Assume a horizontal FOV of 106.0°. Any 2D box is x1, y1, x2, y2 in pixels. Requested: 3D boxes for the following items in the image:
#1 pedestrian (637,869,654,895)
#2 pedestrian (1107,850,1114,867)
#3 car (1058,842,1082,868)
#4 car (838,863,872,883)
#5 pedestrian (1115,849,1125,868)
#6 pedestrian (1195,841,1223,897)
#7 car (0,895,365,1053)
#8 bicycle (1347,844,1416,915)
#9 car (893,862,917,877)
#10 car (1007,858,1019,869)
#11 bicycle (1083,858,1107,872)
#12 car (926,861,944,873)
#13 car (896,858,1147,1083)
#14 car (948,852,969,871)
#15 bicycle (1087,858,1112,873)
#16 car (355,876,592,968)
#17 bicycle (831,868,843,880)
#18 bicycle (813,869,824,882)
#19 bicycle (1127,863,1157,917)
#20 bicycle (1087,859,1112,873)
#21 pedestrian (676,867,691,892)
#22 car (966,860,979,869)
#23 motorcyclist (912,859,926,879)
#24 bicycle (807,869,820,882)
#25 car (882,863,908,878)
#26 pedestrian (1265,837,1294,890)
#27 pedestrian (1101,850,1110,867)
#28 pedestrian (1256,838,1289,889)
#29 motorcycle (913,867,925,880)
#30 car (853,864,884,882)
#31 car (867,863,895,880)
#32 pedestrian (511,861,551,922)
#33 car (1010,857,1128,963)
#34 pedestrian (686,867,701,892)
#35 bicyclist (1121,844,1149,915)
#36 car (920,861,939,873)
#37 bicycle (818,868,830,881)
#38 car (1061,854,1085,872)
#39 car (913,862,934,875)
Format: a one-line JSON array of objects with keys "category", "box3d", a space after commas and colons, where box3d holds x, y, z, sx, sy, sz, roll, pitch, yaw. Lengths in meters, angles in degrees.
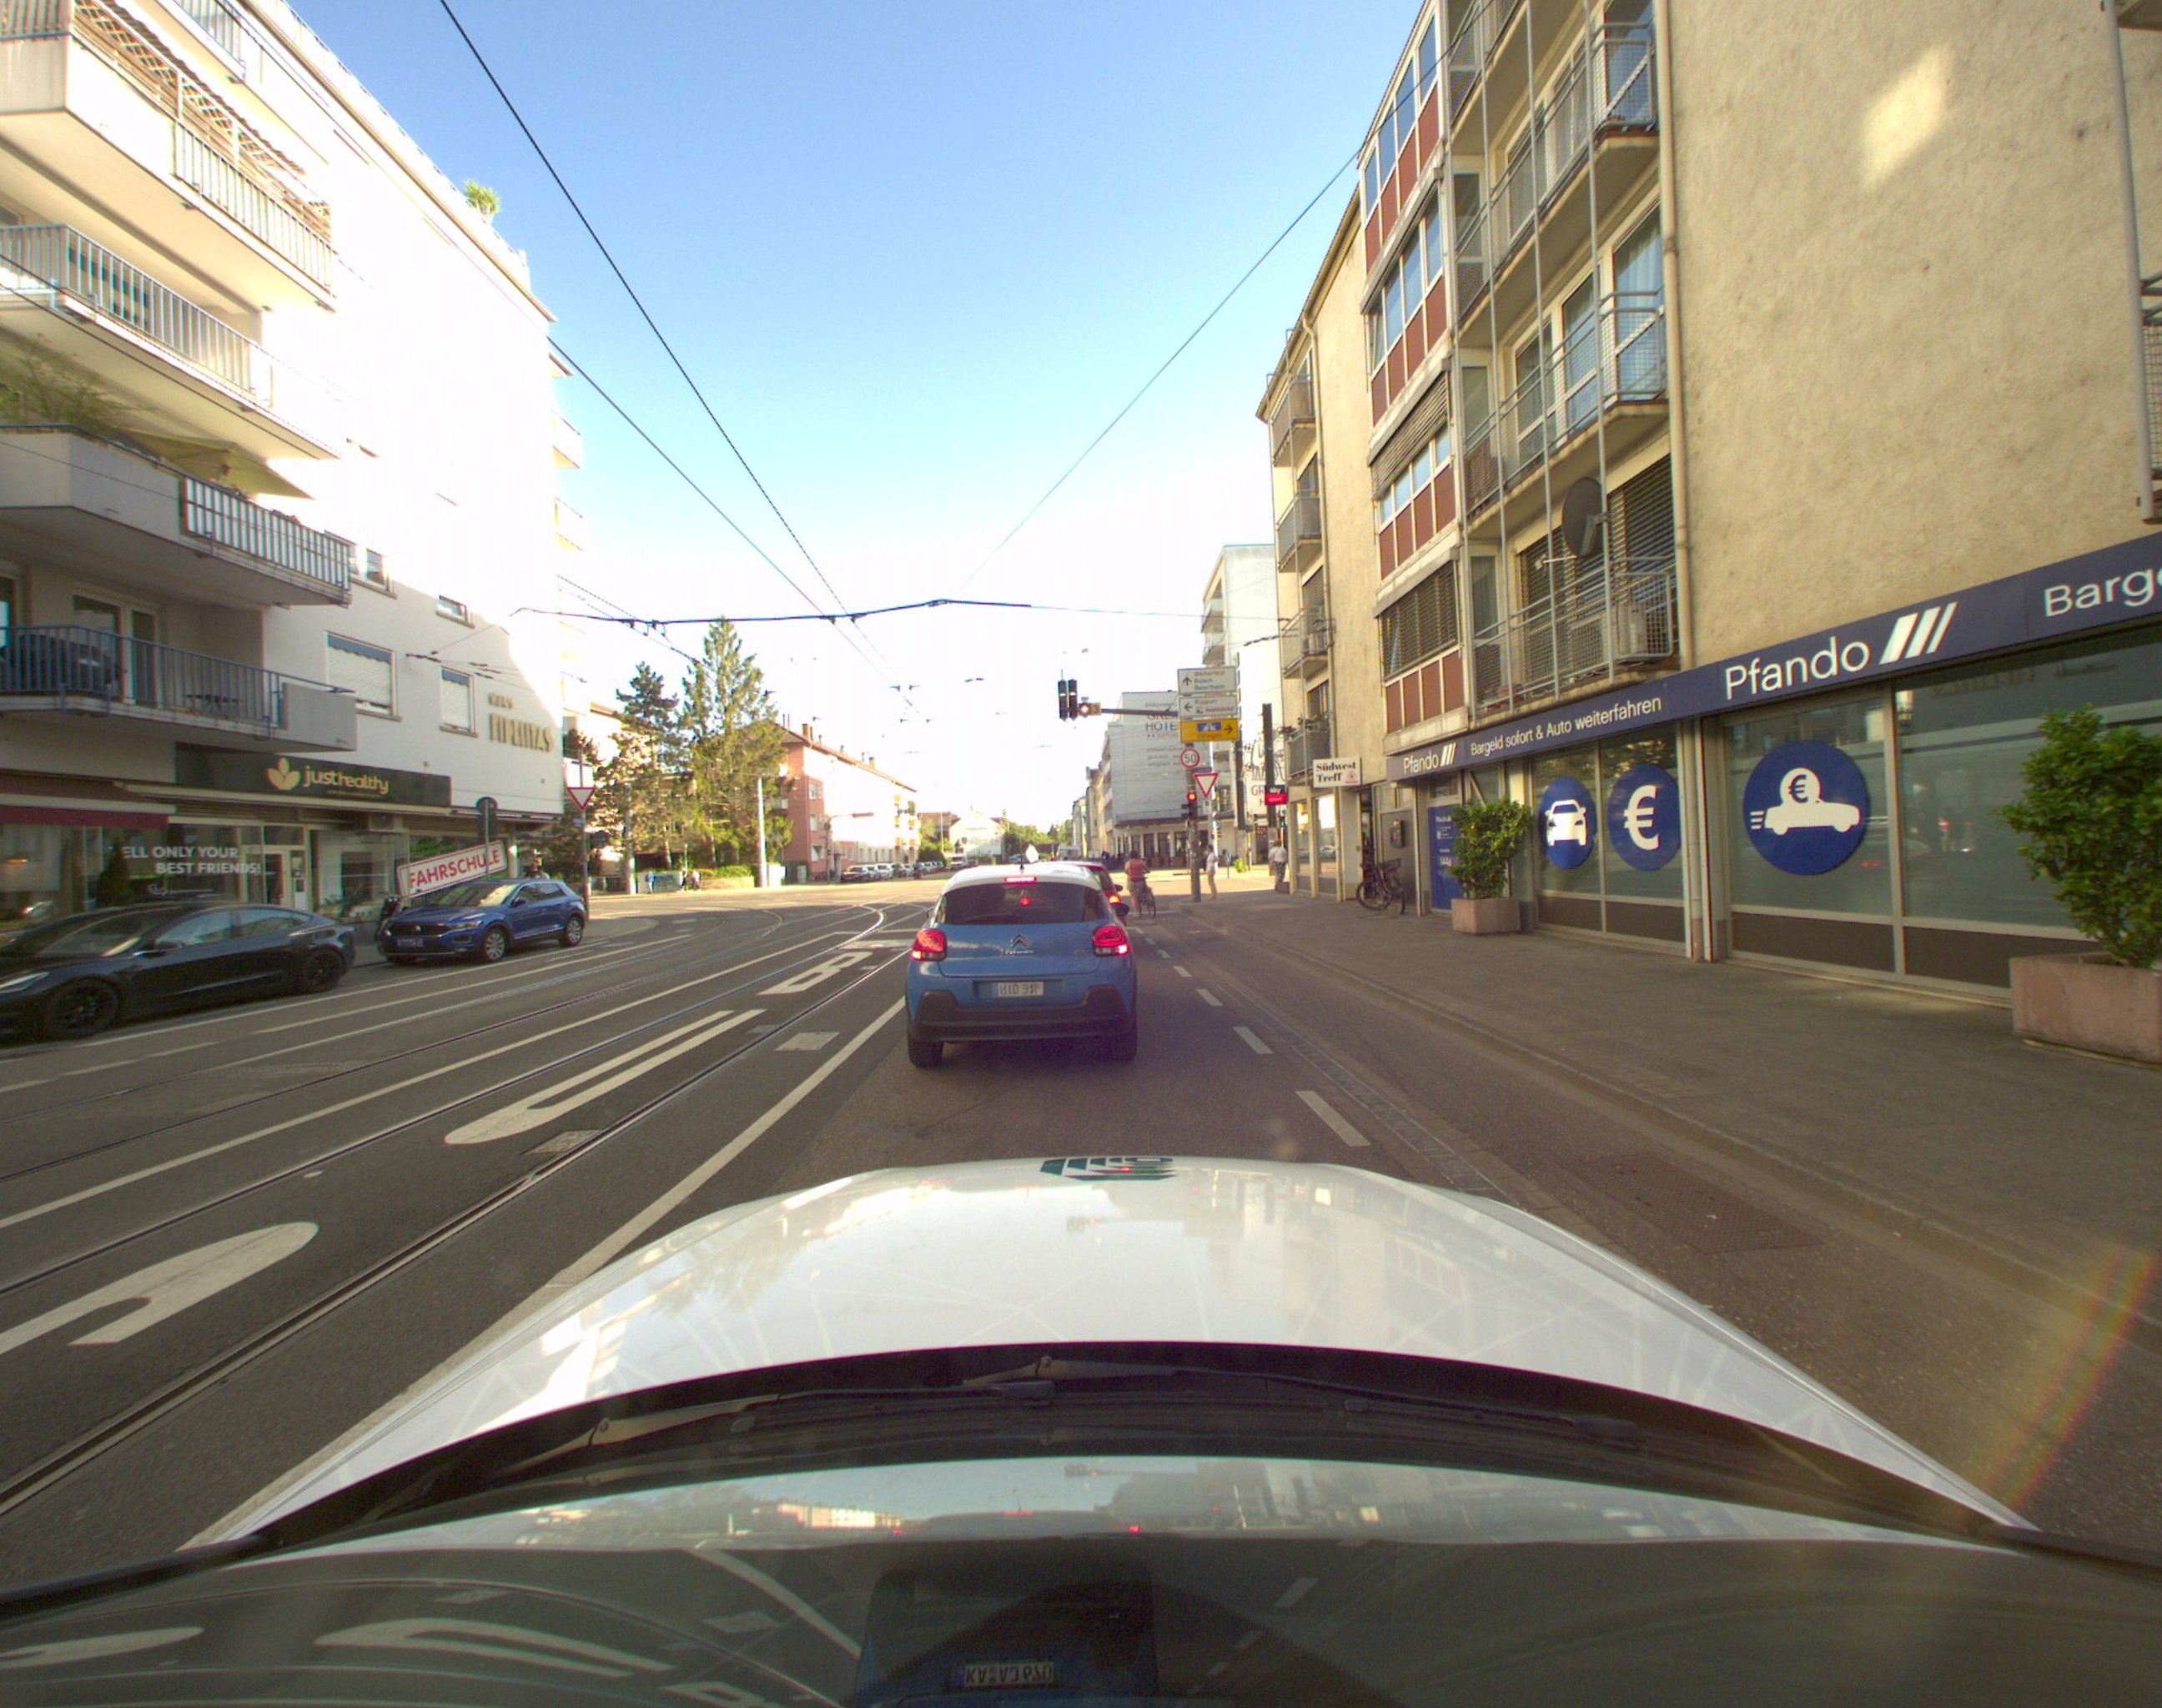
[{"category": "pedestrian", "box3d": [-30.027, 1.926, 56.196, 0.810, 1.702, 0.677, -2, 0, -15]}, {"category": "pedestrian", "box3d": [2.525, 0.368, 70.123, 0.467, 1.420, 0.524, -2, 0, -11]}, {"category": "car", "box3d": [-1.037, 0.075, 73.453, 2.074, 2.269, 5.647, -1, 0, -2]}, {"category": "car", "box3d": [-19.288, 1.596, 69.625, 1.947, 1.519, 3.995, -2, 0, -4]}, {"category": "pedestrian", "box3d": [3.360, 0.409, 70.228, 0.558, 1.647, 0.532, -2, 0, -42]}, {"category": "pedestrian", "box3d": [3.843, 0.451, 24.421, 0.747, 1.635, 0.742, -2, 0, 7]}, {"category": "car", "box3d": [-11.979, 1.337, 10.428, 1.720, 1.403, 4.486, 0, 0, -2]}, {"category": "bicycle", "box3d": [5.763, 0.455, 15.745, 0.637, 1.264, 1.911, -2, 0, 2]}, {"category": "car", "box3d": [-19.980, 1.781, 92.601, 1.947, 1.519, 3.995, -2, 0, -4]}, {"category": "car", "box3d": [-14.268, 1.951, 171.416, 2.333, 2.039, 5.044, -2, 0, -4]}, {"category": "bicycle", "box3d": [1.162, 0.942, 68.450, 1.901, 1.064, 0.641, -2, 0, -6]}, {"category": "car", "box3d": [-20.725, 1.838, 115.688, 1.947, 1.519, 3.995, -2, 0, -4]}, {"category": "car", "box3d": [-0.448, 0.793, 7.505, 1.675, 1.462, 3.997, -1, 0, -2]}, {"category": "car", "box3d": [-18.127, 1.088, 120.581, 2.489, 2.712, 5.828, -2, 0, -5]}, {"category": "bicycle", "box3d": [1.518, 0.920, 65.941, 1.901, 1.064, 0.641, -2, 0, -6]}, {"category": "car", "box3d": [-11.874, 1.249, 16.331, 1.720, 1.505, 4.113, 0, 0, -2]}, {"category": "bicycle", "box3d": [-22.715, 1.856, 75.807, 0.608, 1.082, 1.908, -2, 0, -4]}, {"category": "bicycle", "box3d": [-21.972, 1.791, 68.192, 0.537, 1.082, 1.905, -2, 0, -9]}, {"category": "bicycle", "box3d": [1.537, 0.886, 20.732, 0.611, 1.264, 1.911, -2, 0, 2]}, {"category": "bicycle", "box3d": [1.527, 0.950, 67.247, 1.901, 1.064, 0.641, -2, 0, -6]}, {"category": "pedestrian", "box3d": [-27.513, 1.779, 56.380, 0.812, 1.702, 0.629, -2, 0, -22]}, {"category": "car", "box3d": [-19.339, 1.796, 145.249, 1.947, 1.519, 3.995, -2, 0, -4]}, {"category": "motorcyclist", "box3d": [-13.472, 1.264, 67.699, 0.990, 1.631, 0.737, -2, 0, -7]}, {"category": "bicycle", "box3d": [-22.378, 1.791, 68.082, 0.640, 1.082, 1.905, -2, 0, -9]}, {"category": "car", "box3d": [-19.728, 1.731, 86.533, 1.947, 1.519, 3.995, -2, 0, -4]}, {"category": "pedestrian", "box3d": [6.290, 0.296, 25.745, 0.731, 1.647, 0.757, -2, 0, 21]}, {"category": "pedestrian", "box3d": [2.105, 0.384, 70.385, 0.520, 1.420, 0.550, -3, 0, 22]}, {"category": "pedestrian", "box3d": [6.459, 0.321, 27.423, 0.705, 1.647, 0.732, -2, 0, -34]}, {"category": "motorcycle", "box3d": [-13.482, 1.591, 67.766, 0.751, 0.976, 2.092, -2, 0, -7]}, {"category": "car", "box3d": [-19.569, 1.712, 75.248, 1.947, 1.519, 4.040, -2, 0, -4]}, {"category": "car", "box3d": [-19.558, 1.678, 79.860, 1.947, 1.519, 3.995, -2, 0, -4]}, {"category": "pedestrian", "box3d": [-17.283, 1.174, 25.601, 0.761, 1.834, 0.725, -3, 0, 28]}, {"category": "car", "box3d": [-0.222, 0.811, 13.714, 1.675, 1.462, 3.997, -1, 0, -2]}, {"category": "pedestrian", "box3d": [-26.564, 1.734, 55.792, 0.812, 1.702, 0.602, -2, 0, -22]}, {"category": "bicyclist", "box3d": [1.373, 0.632, 20.699, 0.598, 1.746, 1.084, -2, 0, 2]}, {"category": "car", "box3d": [-20.298, 1.760, 109.332, 1.947, 1.519, 3.995, -2, 0, -4]}, {"category": "bicycle", "box3d": [-23.048, 1.839, 73.111, 0.536, 1.082, 1.908, -2, 0, -4]}, {"category": "car", "box3d": [-0.714, 0.732, 67.992, 1.783, 1.359, 3.909, -2, 0, -4]}, {"category": "car", "box3d": [-20.097, 1.789, 104.044, 1.947, 1.519, 3.995, -2, 0, -4]}]
